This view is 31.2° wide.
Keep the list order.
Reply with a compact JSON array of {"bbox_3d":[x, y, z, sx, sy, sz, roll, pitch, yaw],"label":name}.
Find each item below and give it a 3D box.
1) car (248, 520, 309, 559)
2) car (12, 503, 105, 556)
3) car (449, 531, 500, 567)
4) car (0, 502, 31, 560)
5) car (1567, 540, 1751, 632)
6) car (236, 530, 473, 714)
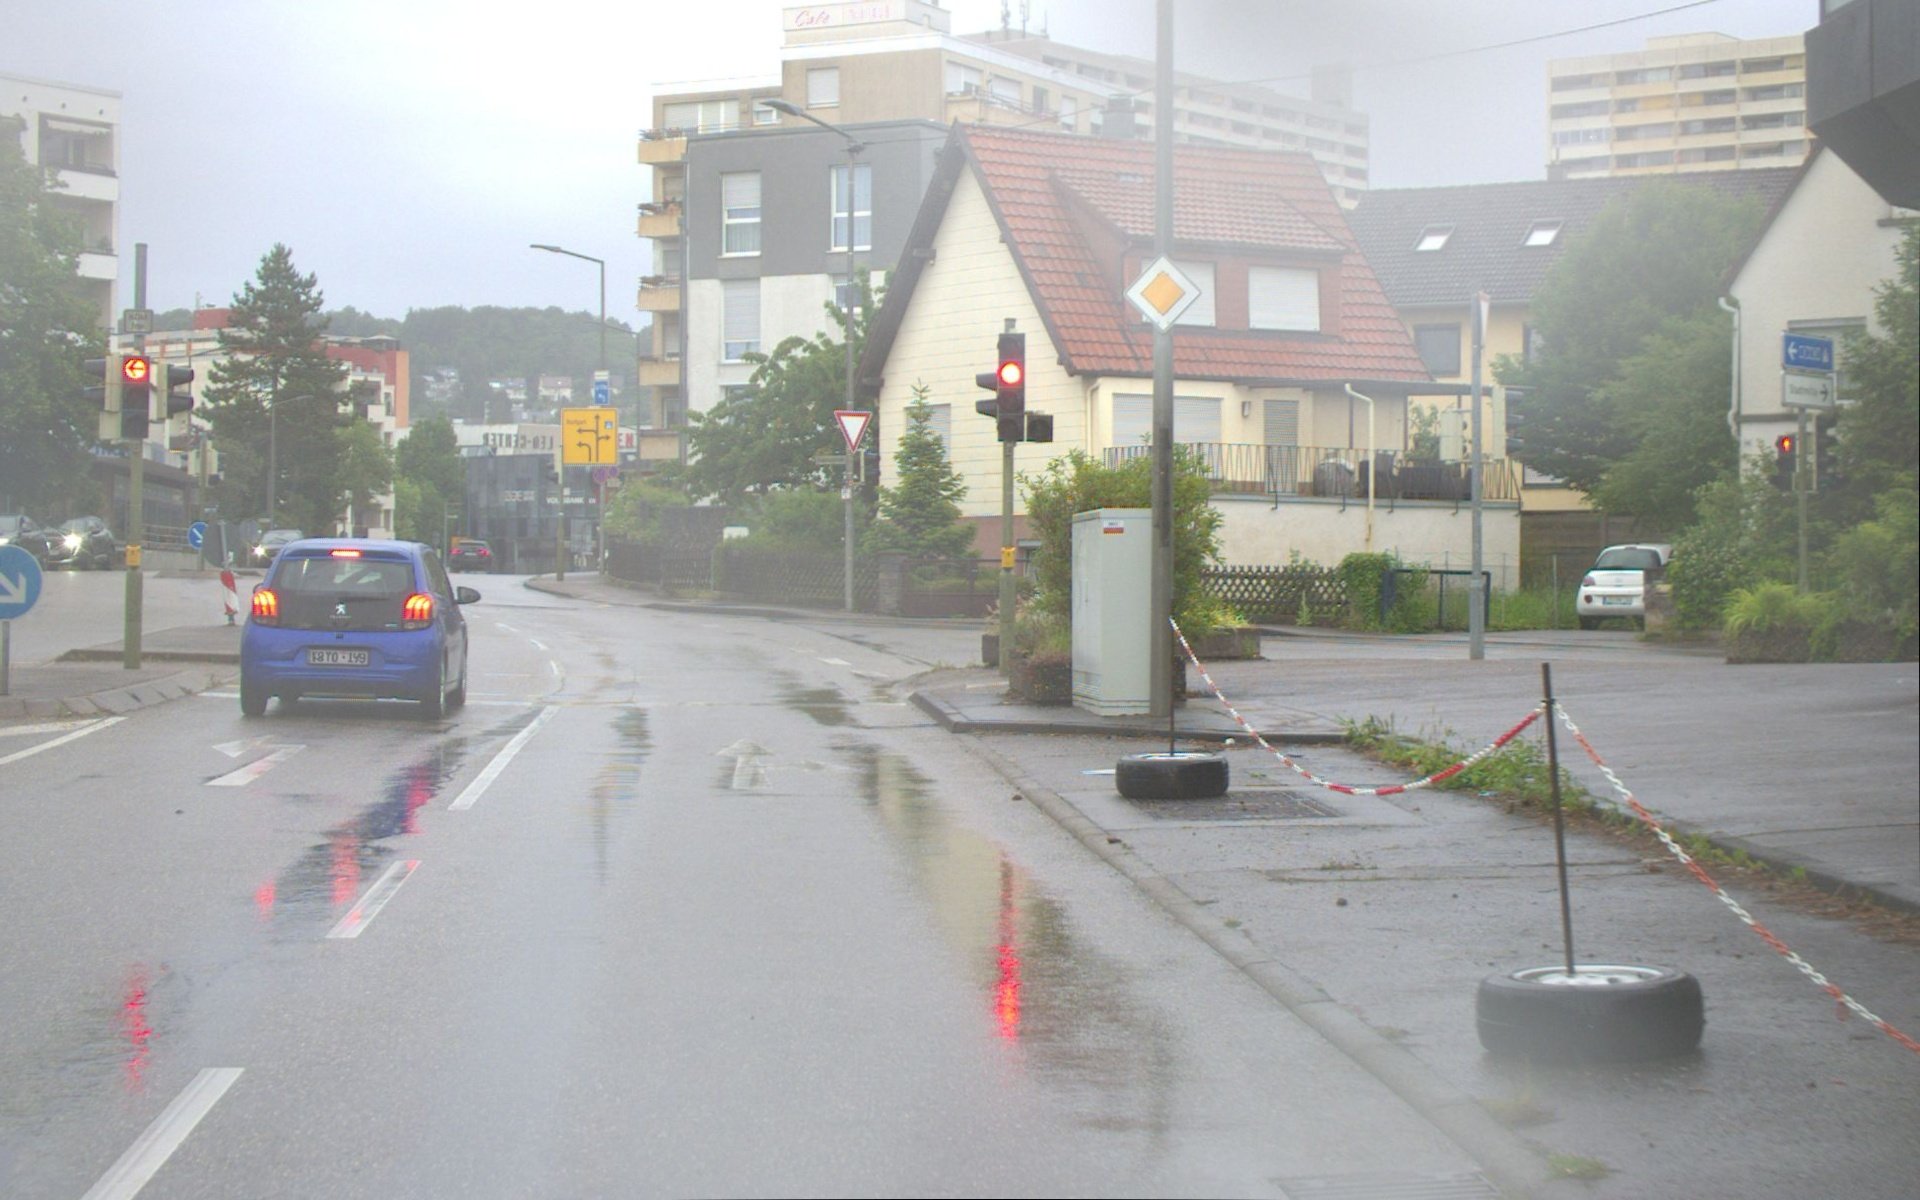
[{"bbox_3d":[-25.760,-2.303,130.038,1.778,1.415,3.831,1,1,-4],"label":"car"},{"bbox_3d":[-24.236,-1.912,92.498,1.715,1.382,4.021,1,1,-4],"label":"car"},{"bbox_3d":[-20.723,-2.178,146.864,1.813,1.481,4.190,0,1,-3],"label":"car"},{"bbox_3d":[-24.328,-1.742,85.263,1.778,1.415,3.831,1,1,-4],"label":"car"},{"bbox_3d":[12.046,-0.261,59.085,1.743,1.509,3.993,2,2,33],"label":"car"},{"bbox_3d":[-4.972,0.142,28.560,1.578,1.406,3.271,1,1,-4],"label":"car"}]
